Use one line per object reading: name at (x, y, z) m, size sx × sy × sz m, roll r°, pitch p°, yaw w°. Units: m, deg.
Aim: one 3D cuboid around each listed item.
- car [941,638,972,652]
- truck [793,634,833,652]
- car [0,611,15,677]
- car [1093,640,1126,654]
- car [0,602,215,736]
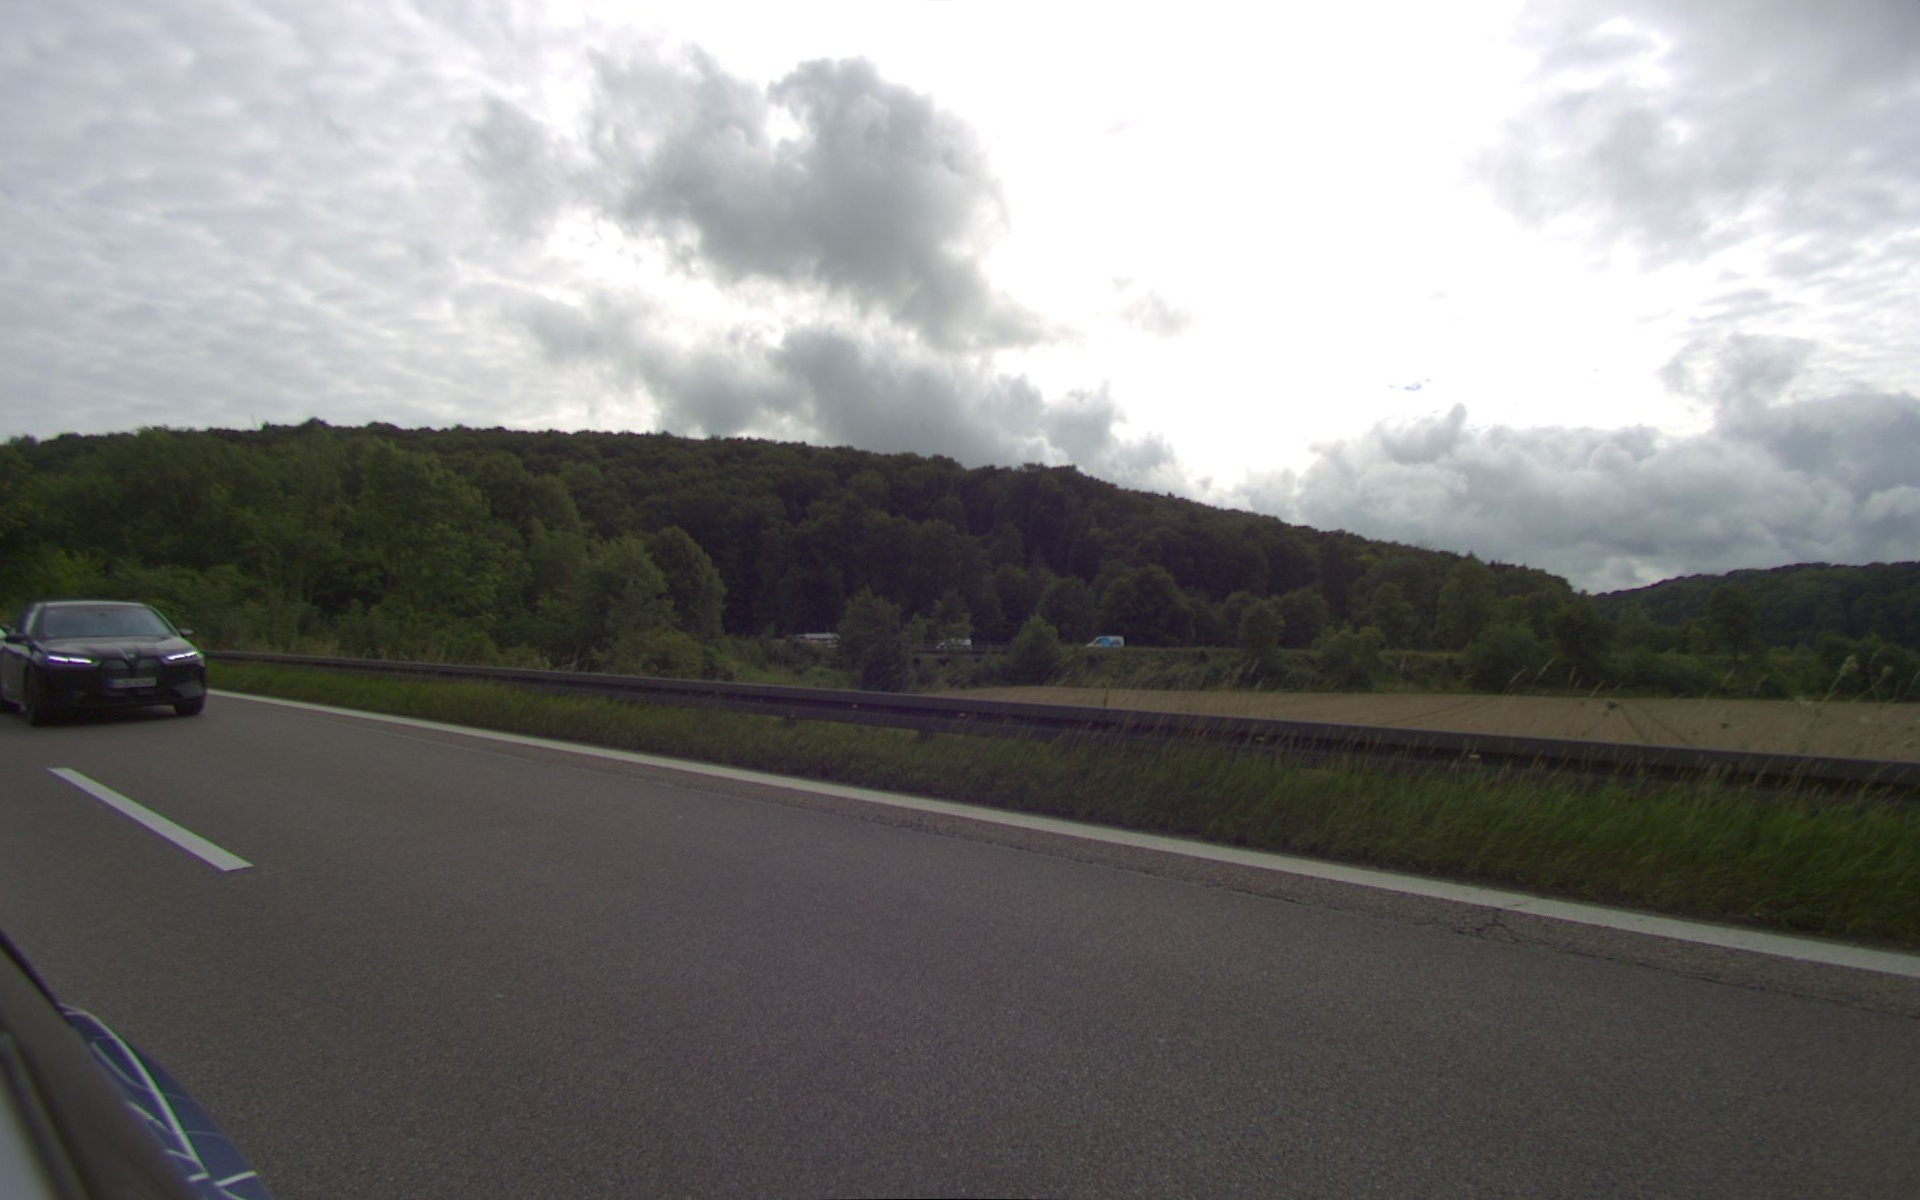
car at (-0.545, 6.643, 150.553) m, size 4.395 × 1.822 × 2.000 m, roll 3°, pitch -4°, yaw -1°
truck at (-22.328, 6.579, 153.951) m, size 5.651 × 2.485 × 2.364 m, roll 3°, pitch -4°, yaw -1°
car at (-26.770, 1.136, 26.879) m, size 4.412 × 1.678 × 1.973 m, roll 0°, pitch -1°, yaw 41°
car at (22.182, 6.967, 150.357) m, size 4.394 × 1.822 × 2.001 m, roll 3°, pitch -4°, yaw -2°
car at (-12.942, 0.907, 15.099) m, size 4.411 × 1.678 × 1.973 m, roll -1°, pitch 0°, yaw 40°
